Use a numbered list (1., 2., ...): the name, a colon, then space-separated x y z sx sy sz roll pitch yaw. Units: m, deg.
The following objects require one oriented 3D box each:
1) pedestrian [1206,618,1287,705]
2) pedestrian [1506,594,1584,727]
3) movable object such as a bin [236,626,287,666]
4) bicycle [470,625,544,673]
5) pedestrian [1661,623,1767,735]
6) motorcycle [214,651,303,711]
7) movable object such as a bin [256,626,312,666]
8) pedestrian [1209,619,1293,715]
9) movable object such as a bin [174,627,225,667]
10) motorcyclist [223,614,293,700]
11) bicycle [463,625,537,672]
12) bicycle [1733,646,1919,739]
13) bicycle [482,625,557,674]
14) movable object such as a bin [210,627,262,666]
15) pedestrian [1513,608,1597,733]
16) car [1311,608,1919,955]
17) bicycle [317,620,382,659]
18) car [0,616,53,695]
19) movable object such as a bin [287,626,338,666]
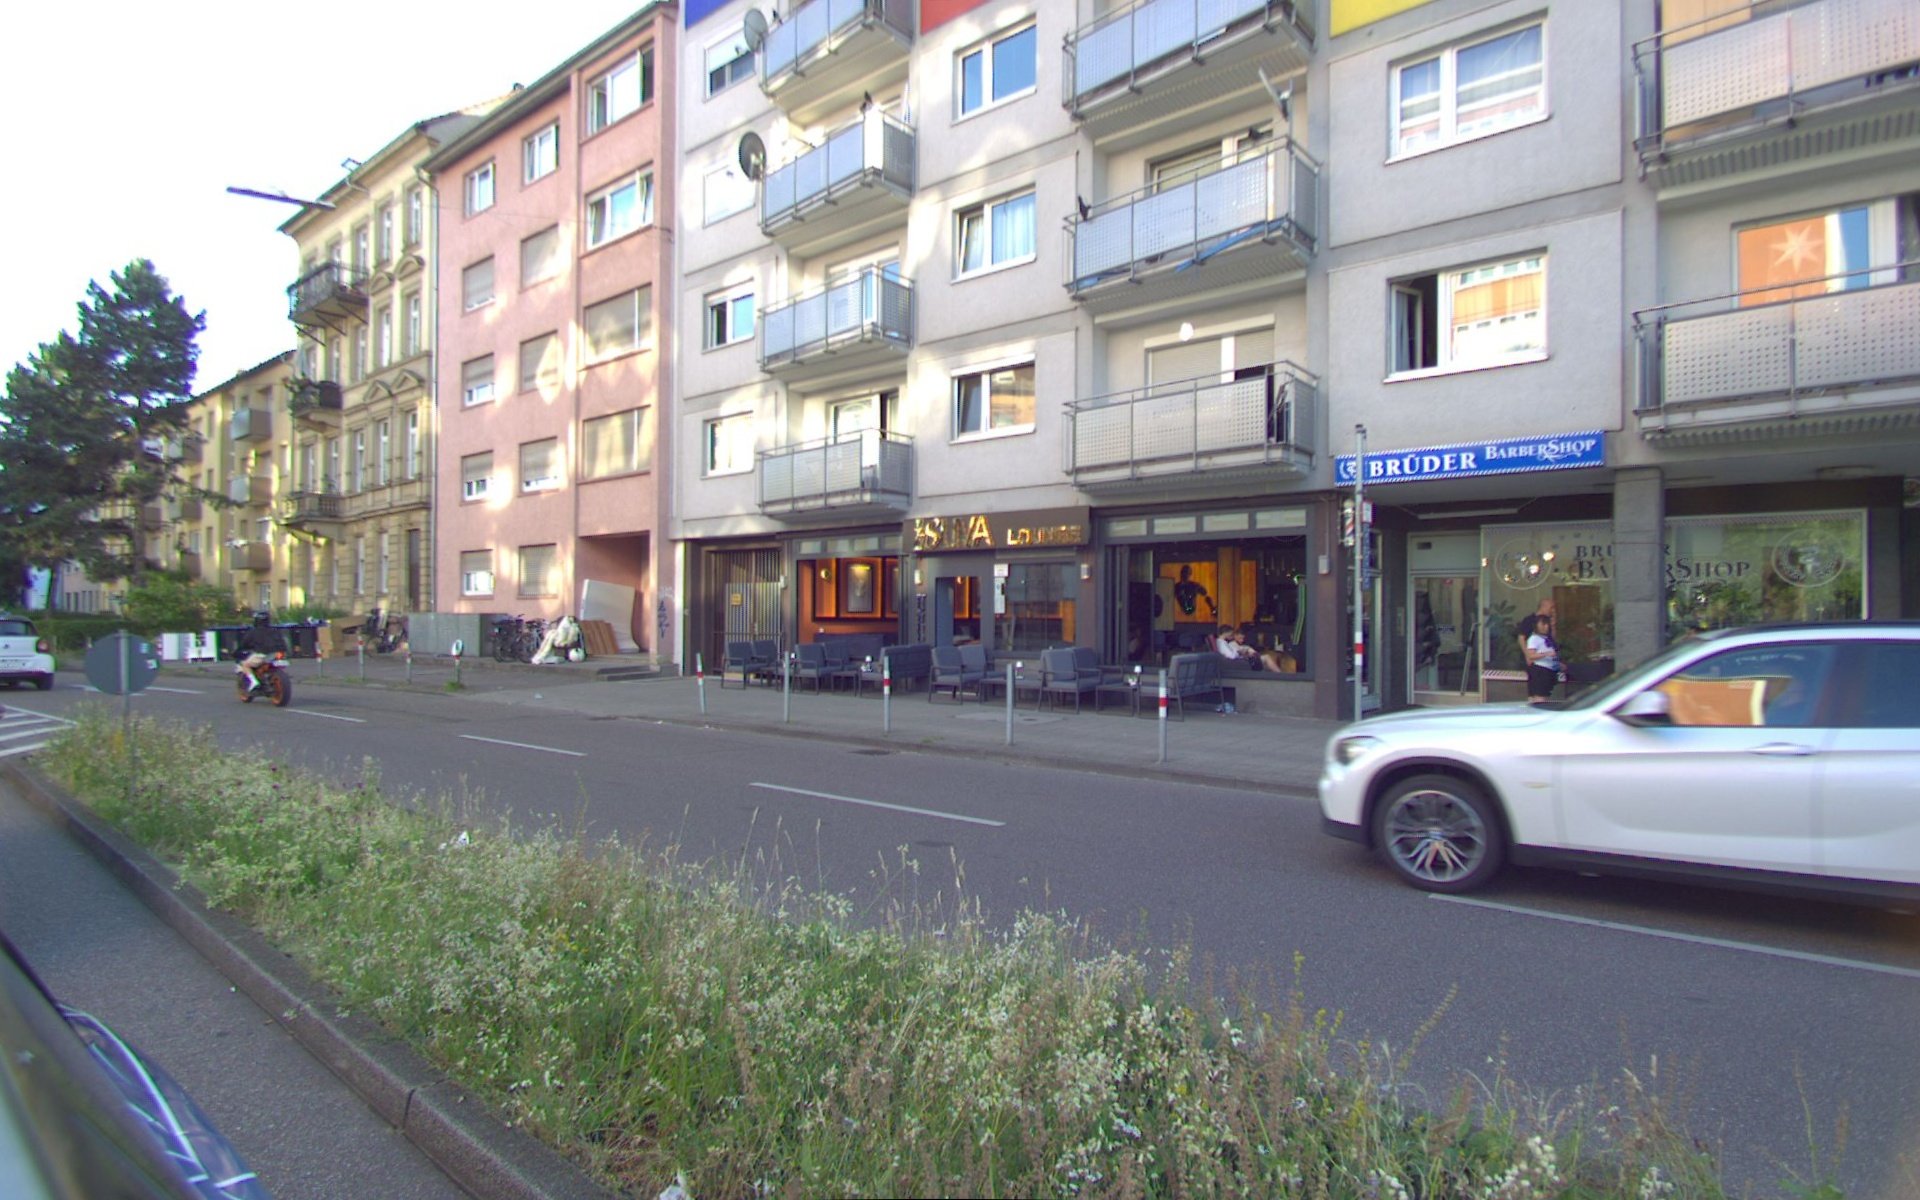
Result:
1. pedestrian: 4.626 0.965 16.349 0.974 1.357 0.871 -1 -2 40
2. pedestrian: 7.624 0.778 13.218 0.650 1.685 0.625 0 -1 5
3. movable object such as a bin: -22.478 1.475 32.592 0.837 1.242 1.193 0 -1 0
4. bicycle: -11.832 1.266 26.488 0.473 1.200 1.758 -1 -2 38
5. pedestrian: 9.142 0.936 12.293 0.798 1.323 0.626 0 -1 -3
6. motorcycle: -12.343 1.395 17.782 2.046 0.970 0.741 -1 -2 40
7. movable object such as a bin: -21.551 1.462 32.308 0.916 1.242 1.292 0 -1 0
8. pedestrian: 4.325 0.970 15.036 0.882 1.357 0.961 -1 -2 40
9. movable object such as a bin: -24.271 1.499 32.317 0.836 1.242 1.195 0 -1 -8
10. motorcyclist: -12.339 0.987 17.784 0.957 1.452 0.741 -1 -3 39
11. bicycle: -12.221 1.271 26.926 0.473 1.200 1.758 -1 -2 38
12. bicycle: 10.321 1.074 12.055 1.691 1.006 0.620 0 -1 32
13. bicycle: -11.289 1.252 25.995 0.473 1.200 1.758 -1 -2 38
14. movable object such as a bin: -23.348 1.487 32.650 0.837 1.242 1.193 0 -1 0
15. pedestrian: 7.258 0.847 12.367 0.650 1.478 0.625 0 -1 5
16. car: 4.280 0.821 5.382 4.241 1.499 1.736 -1 -3 37
17. bicycle: -19.674 1.259 32.647 0.473 1.200 1.758 -1 -2 38
18. car: -20.347 1.116 20.896 3.395 1.554 1.578 -1 -2 34
19. movable object such as a bin: -20.622 1.451 32.259 0.837 1.242 1.193 0 -1 0
